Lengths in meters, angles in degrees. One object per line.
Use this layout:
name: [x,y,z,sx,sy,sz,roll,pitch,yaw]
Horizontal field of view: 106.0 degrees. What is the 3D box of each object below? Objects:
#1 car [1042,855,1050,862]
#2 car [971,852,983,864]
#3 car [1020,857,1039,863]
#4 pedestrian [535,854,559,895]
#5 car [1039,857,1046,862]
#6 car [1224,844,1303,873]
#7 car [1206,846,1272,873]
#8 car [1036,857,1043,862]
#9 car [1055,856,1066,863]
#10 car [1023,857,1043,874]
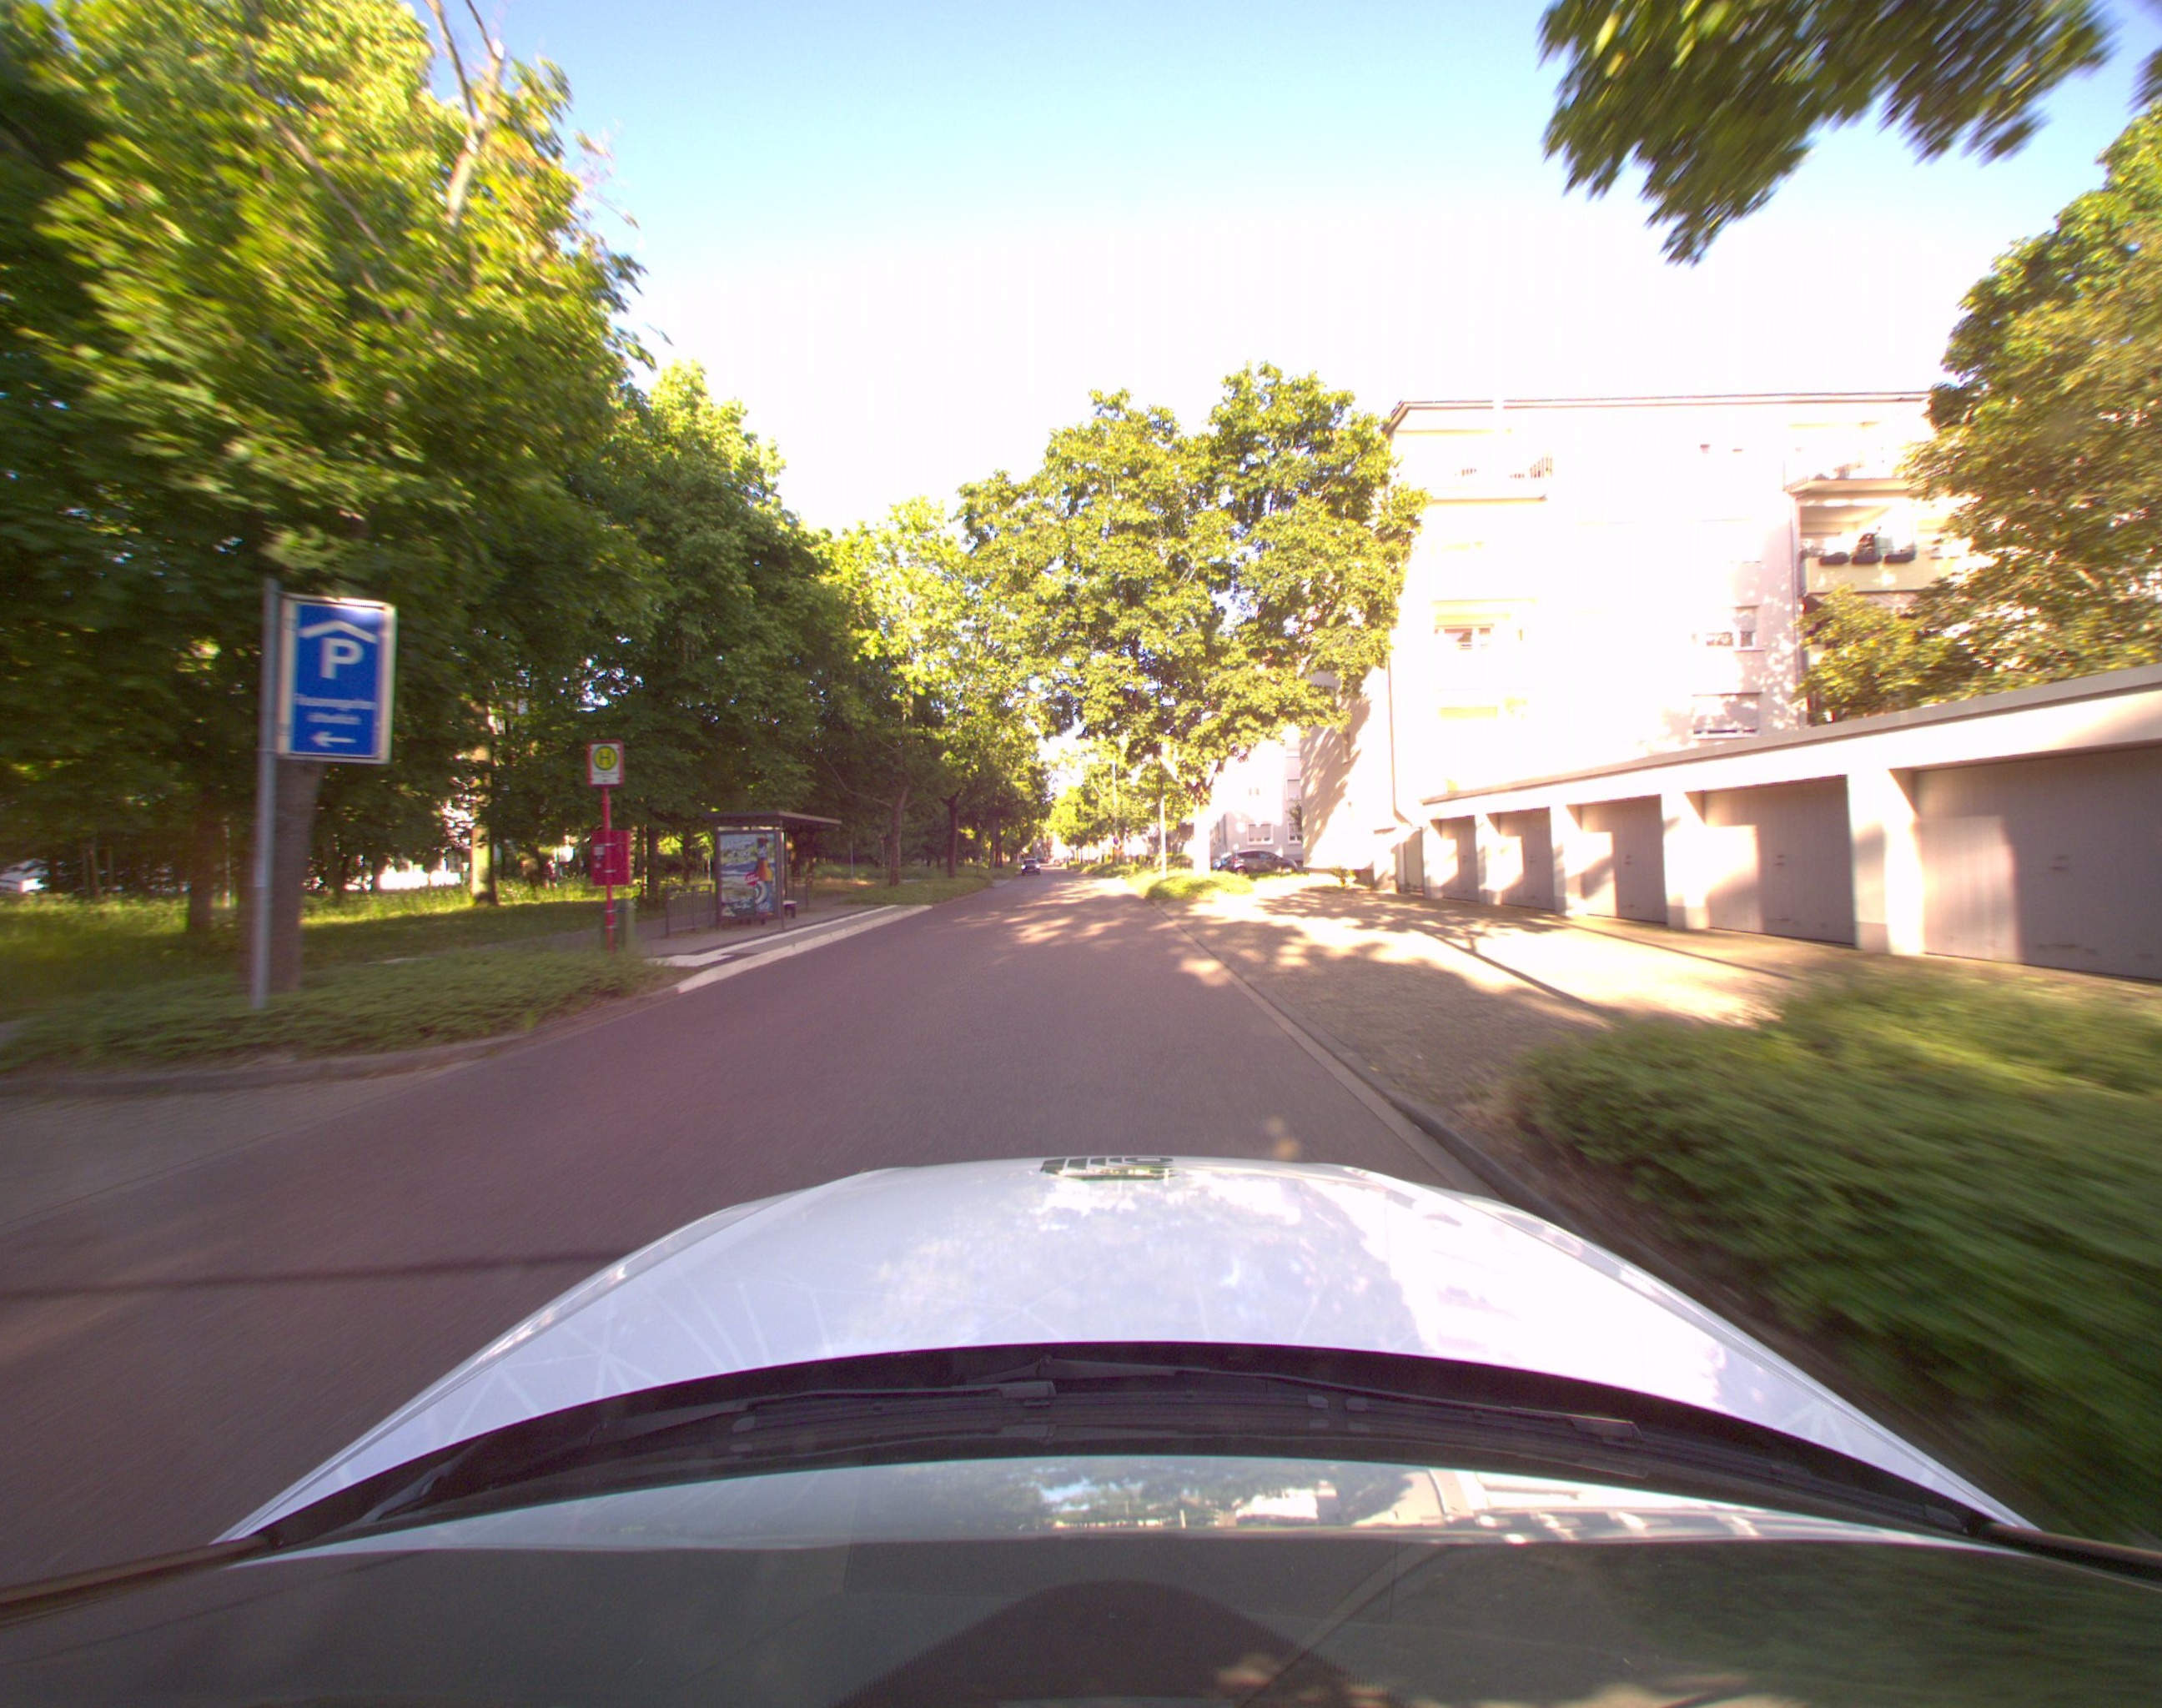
car: [-9.215,1.248,215.469,1.810,1.925,3.990,0,0,-7]
car: [-20.819,0.791,162.407,1.995,2.508,3.983,-1,-1,-12]
car: [-11.696,1.380,184.543,3.989,1.501,1.810,0,0,-12]
pedestrian: [-26.185,1.011,39.957,0.754,2.014,0.590,-1,-1,0]
car: [-10.534,1.522,223.519,1.810,1.501,3.990,0,0,-7]
car: [10.287,0.259,46.038,4.031,1.514,1.725,-1,-2,-3]
car: [10.399,0.336,53.734,3.980,1.581,1.807,-2,1,-5]
car: [-11.779,1.587,229.971,1.810,1.501,3.990,0,0,-7]
car: [-4.660,1.277,187.068,1.812,1.501,3.985,-2,0,-11]
car: [-4.705,1.158,80.688,1.840,1.579,4.331,-2,0,-3]
